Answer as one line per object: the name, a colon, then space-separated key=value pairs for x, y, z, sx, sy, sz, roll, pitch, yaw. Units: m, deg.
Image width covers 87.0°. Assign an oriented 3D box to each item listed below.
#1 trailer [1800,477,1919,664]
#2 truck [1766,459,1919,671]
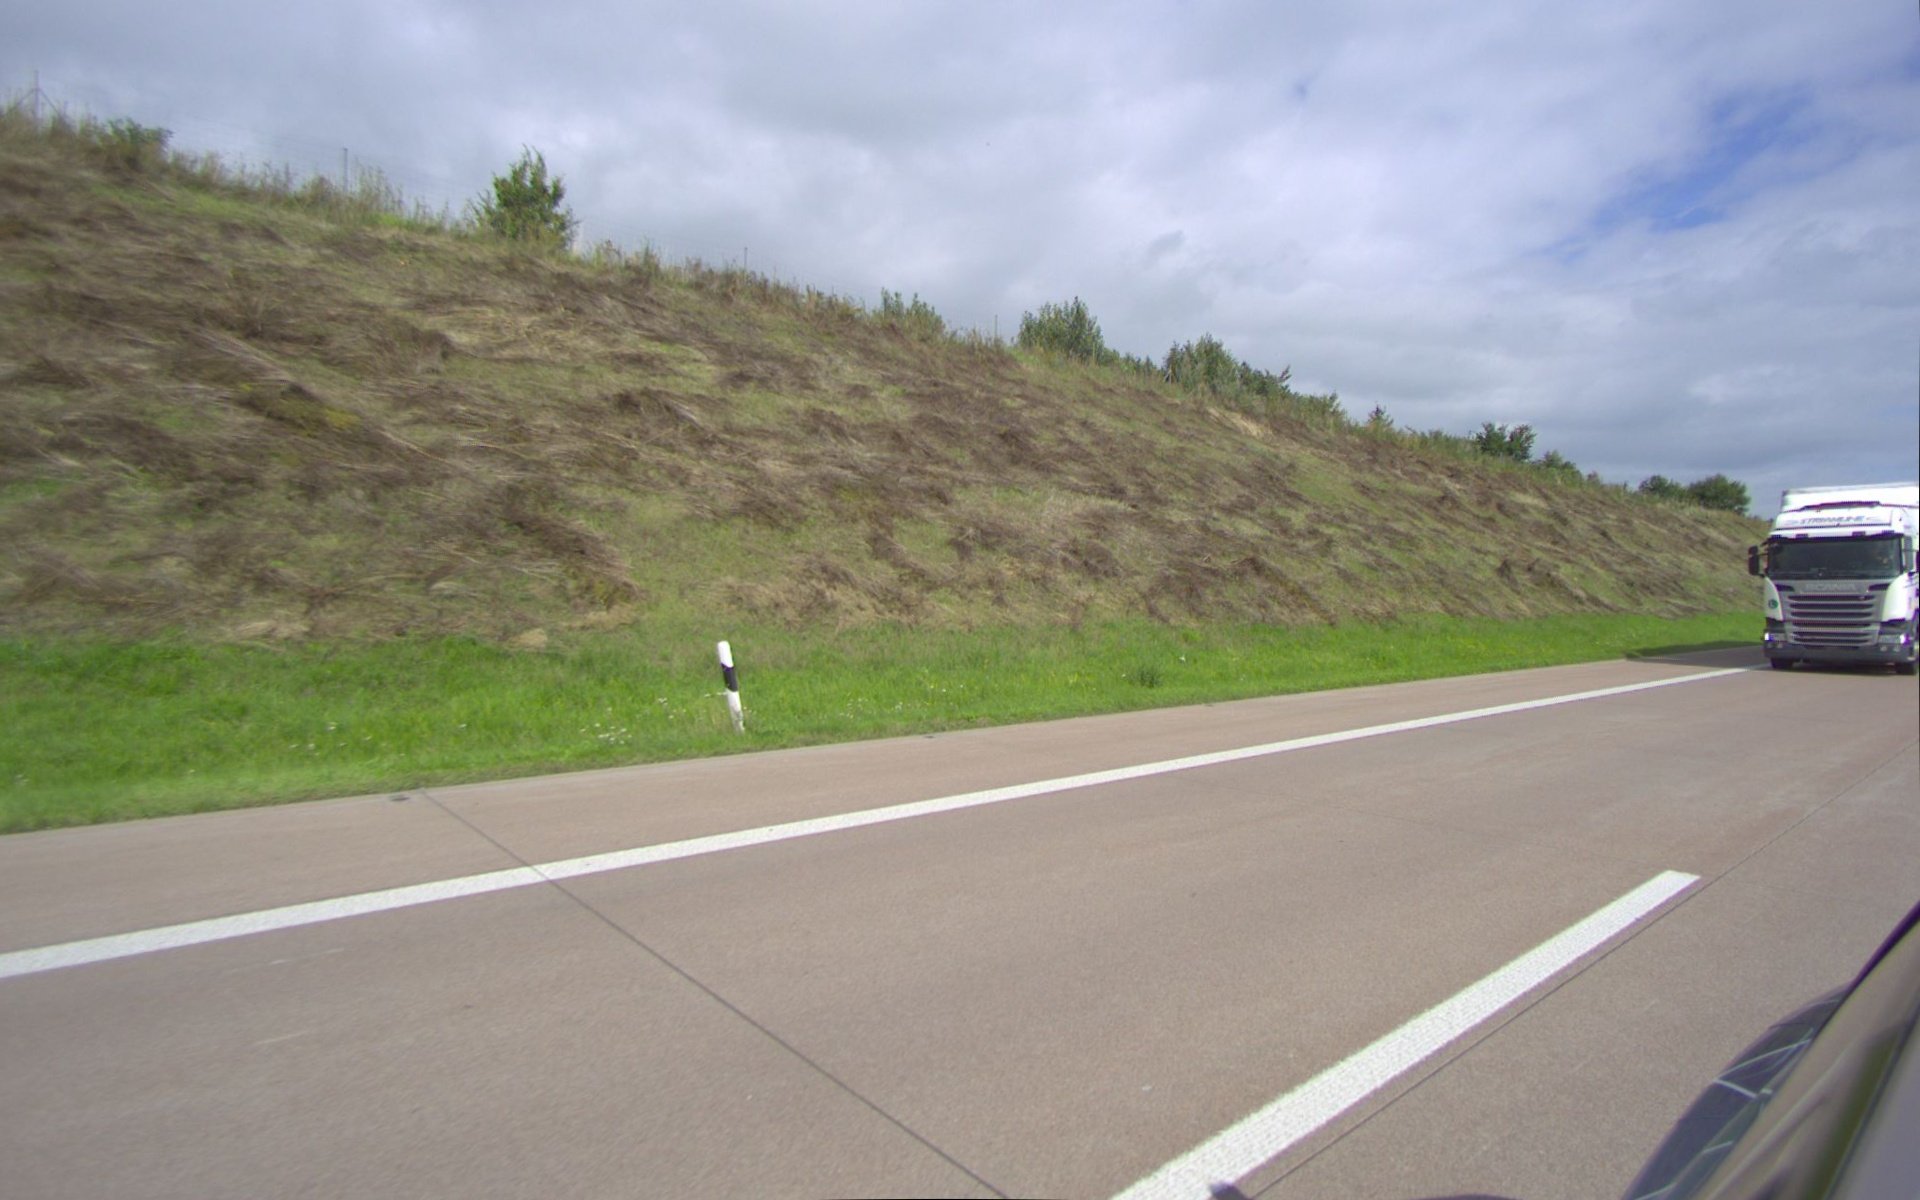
trailer: x=25.512 y=-0.668 z=27.056 sx=12.564 sy=4.145 sz=2.677 roll=0 pitch=1 yaw=-41
truck: x=20.629 y=-0.701 z=22.809 sx=6.500 sy=4.157 sz=2.679 roll=0 pitch=0 yaw=-41
